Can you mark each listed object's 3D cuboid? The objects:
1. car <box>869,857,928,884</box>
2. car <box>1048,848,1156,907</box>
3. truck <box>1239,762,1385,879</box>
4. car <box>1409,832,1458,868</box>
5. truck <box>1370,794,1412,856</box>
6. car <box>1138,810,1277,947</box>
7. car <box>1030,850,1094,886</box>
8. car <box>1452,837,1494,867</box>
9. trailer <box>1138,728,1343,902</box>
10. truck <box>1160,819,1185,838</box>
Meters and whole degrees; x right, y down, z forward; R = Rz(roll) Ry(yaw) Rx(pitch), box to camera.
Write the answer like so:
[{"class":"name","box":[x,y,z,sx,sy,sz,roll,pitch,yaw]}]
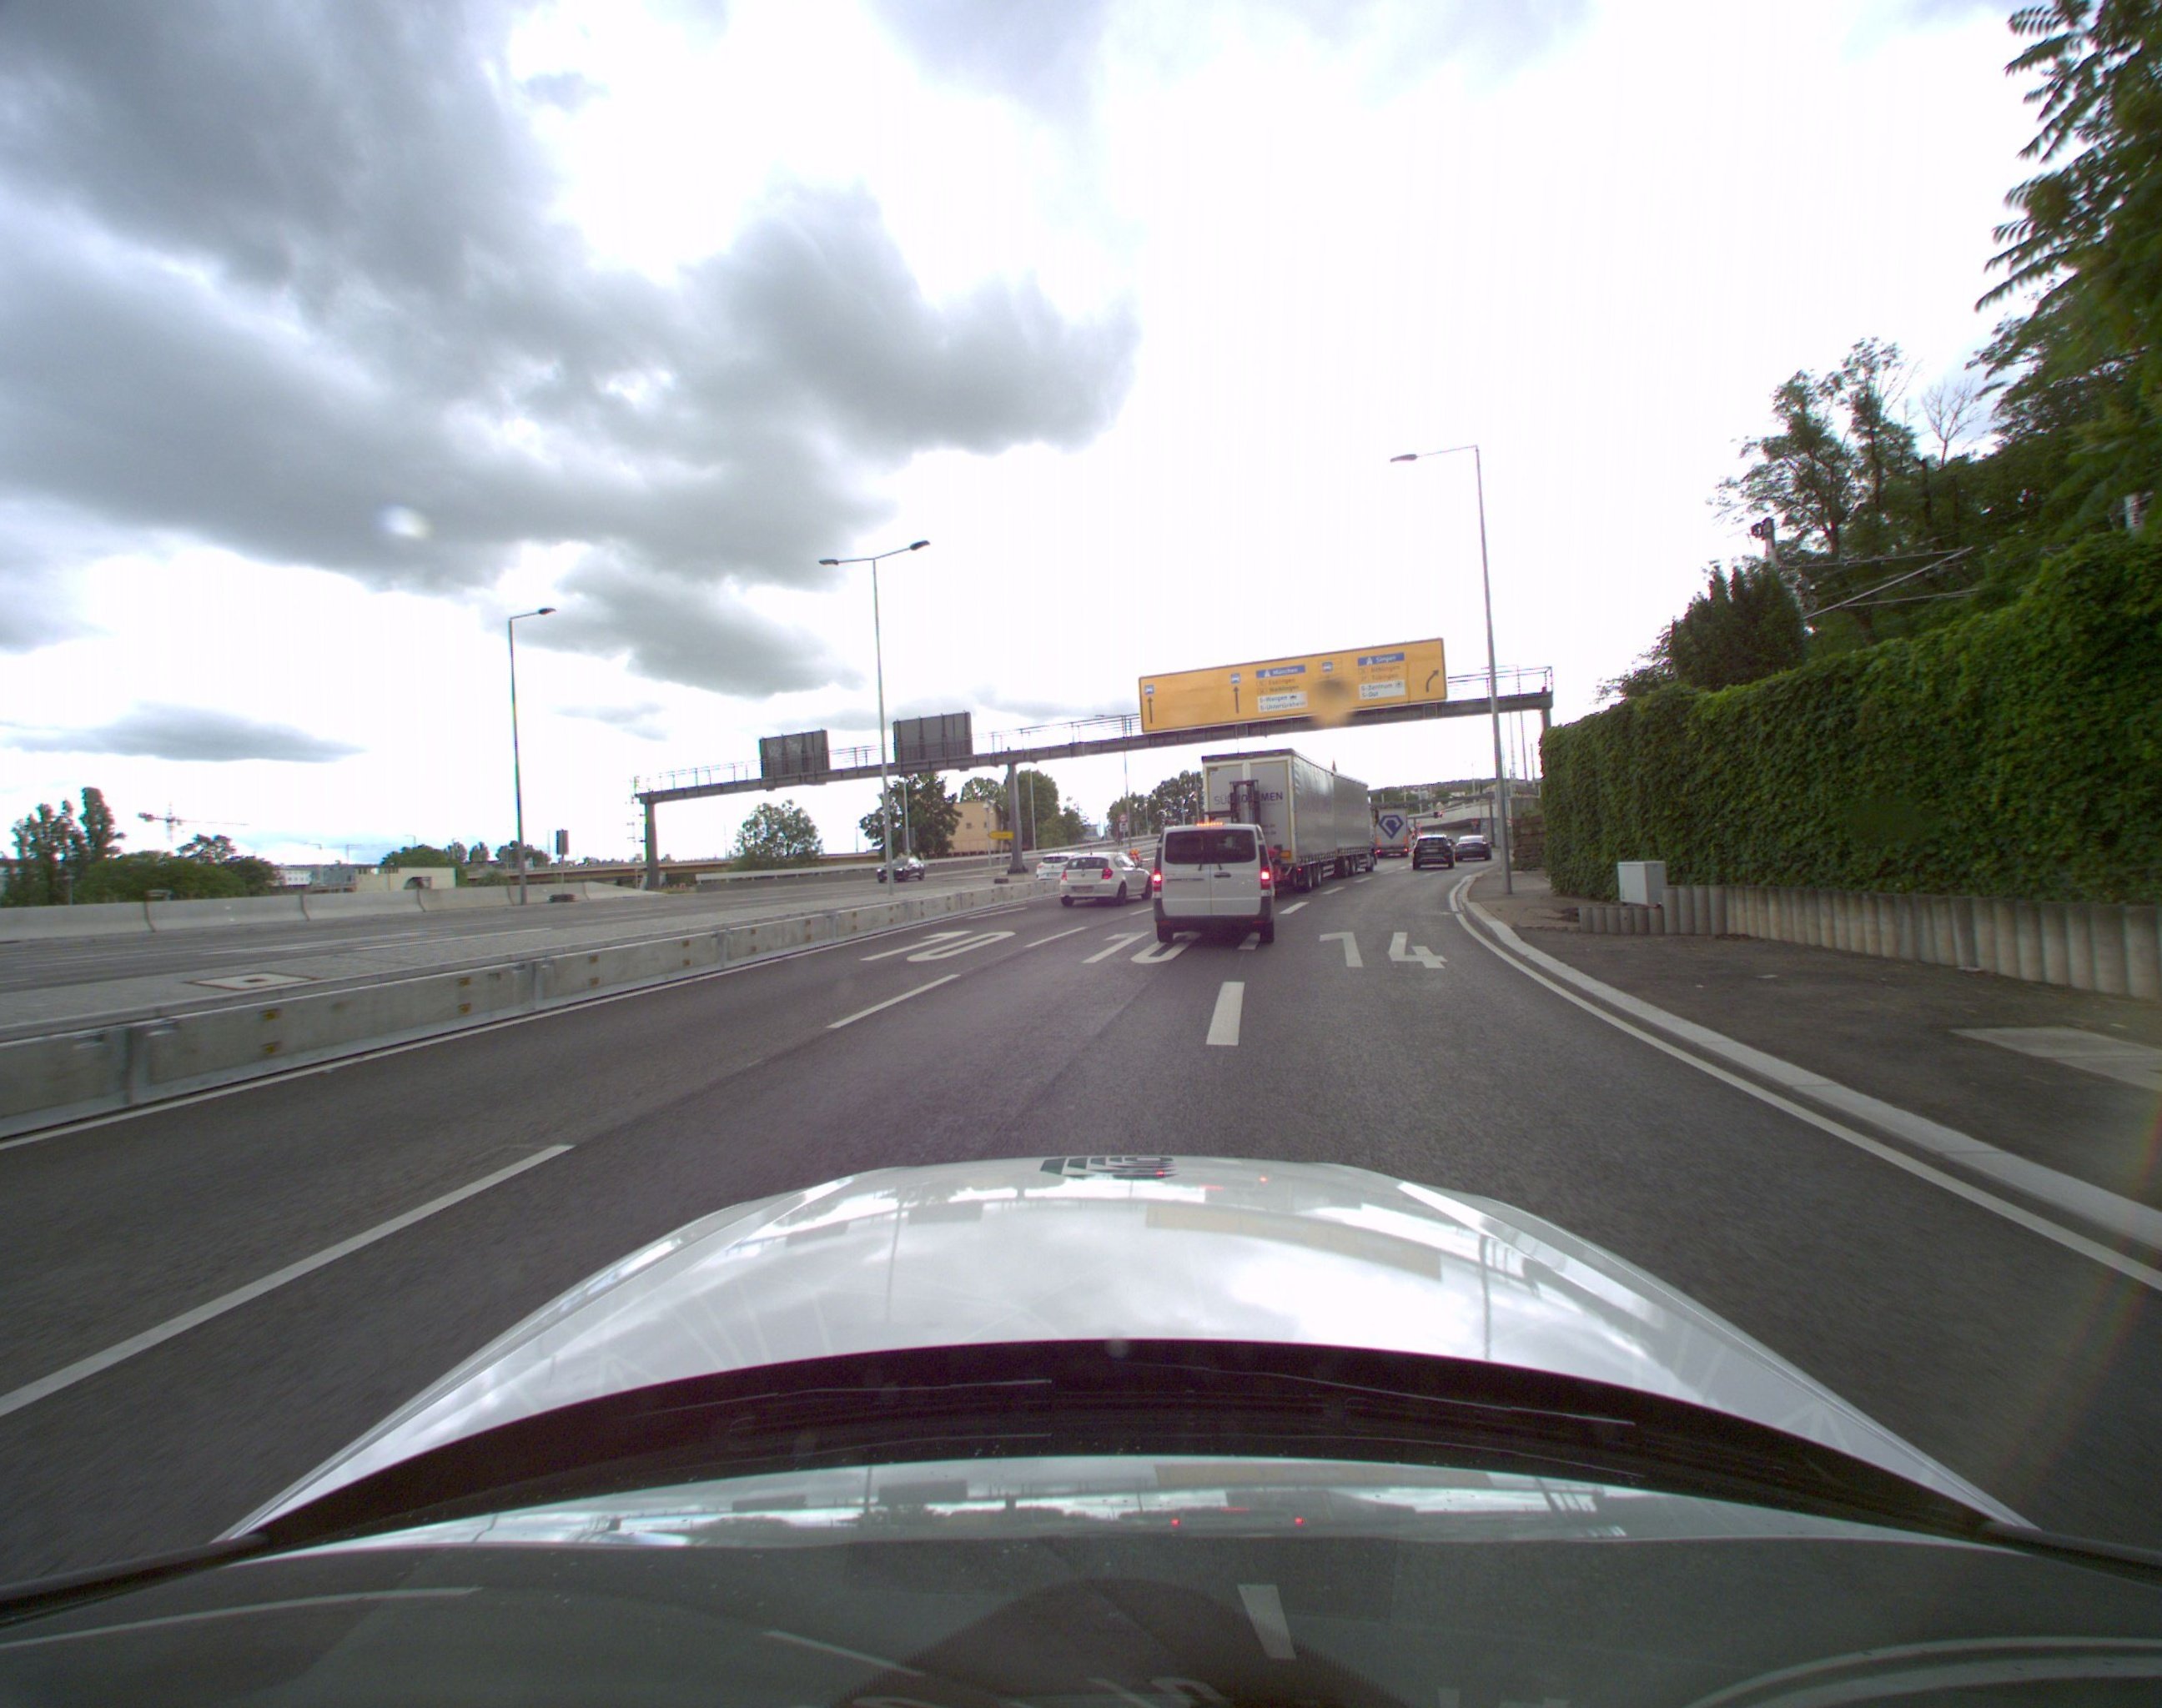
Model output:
[{"class":"car","box":[-11.712,1.032,52.638,1.979,1.585,4.153,1,0,15]},{"class":"car","box":[0.703,0.617,22.928,1.729,1.432,4.020,-4,-1,20]},{"class":"truck","box":[10.304,-1.281,35.066,3.689,4.141,11.050,-2,0,28]},{"class":"car","box":[16.401,-0.159,37.999,1.877,1.520,4.020,-2,-1,21]},{"class":"truck","box":[25.840,-2.231,67.572,3.037,4.803,9.207,0,0,22]},{"class":"car","box":[2.463,0.364,14.719,1.980,1.990,5.218,-2,0,13]},{"class":"car","box":[-0.762,0.569,35.371,1.730,1.432,3.791,0,0,16]},{"class":"car","box":[22.641,-0.105,47.138,1.876,1.626,4.021,-2,0,21]},{"class":"trailer","box":[5.490,-0.976,25.266,3.691,4.141,11.046,-2,0,24]},{"class":"truck","box":[17.645,-4.901,156.463,2.711,3.389,10.670,-1,3,17]}]
